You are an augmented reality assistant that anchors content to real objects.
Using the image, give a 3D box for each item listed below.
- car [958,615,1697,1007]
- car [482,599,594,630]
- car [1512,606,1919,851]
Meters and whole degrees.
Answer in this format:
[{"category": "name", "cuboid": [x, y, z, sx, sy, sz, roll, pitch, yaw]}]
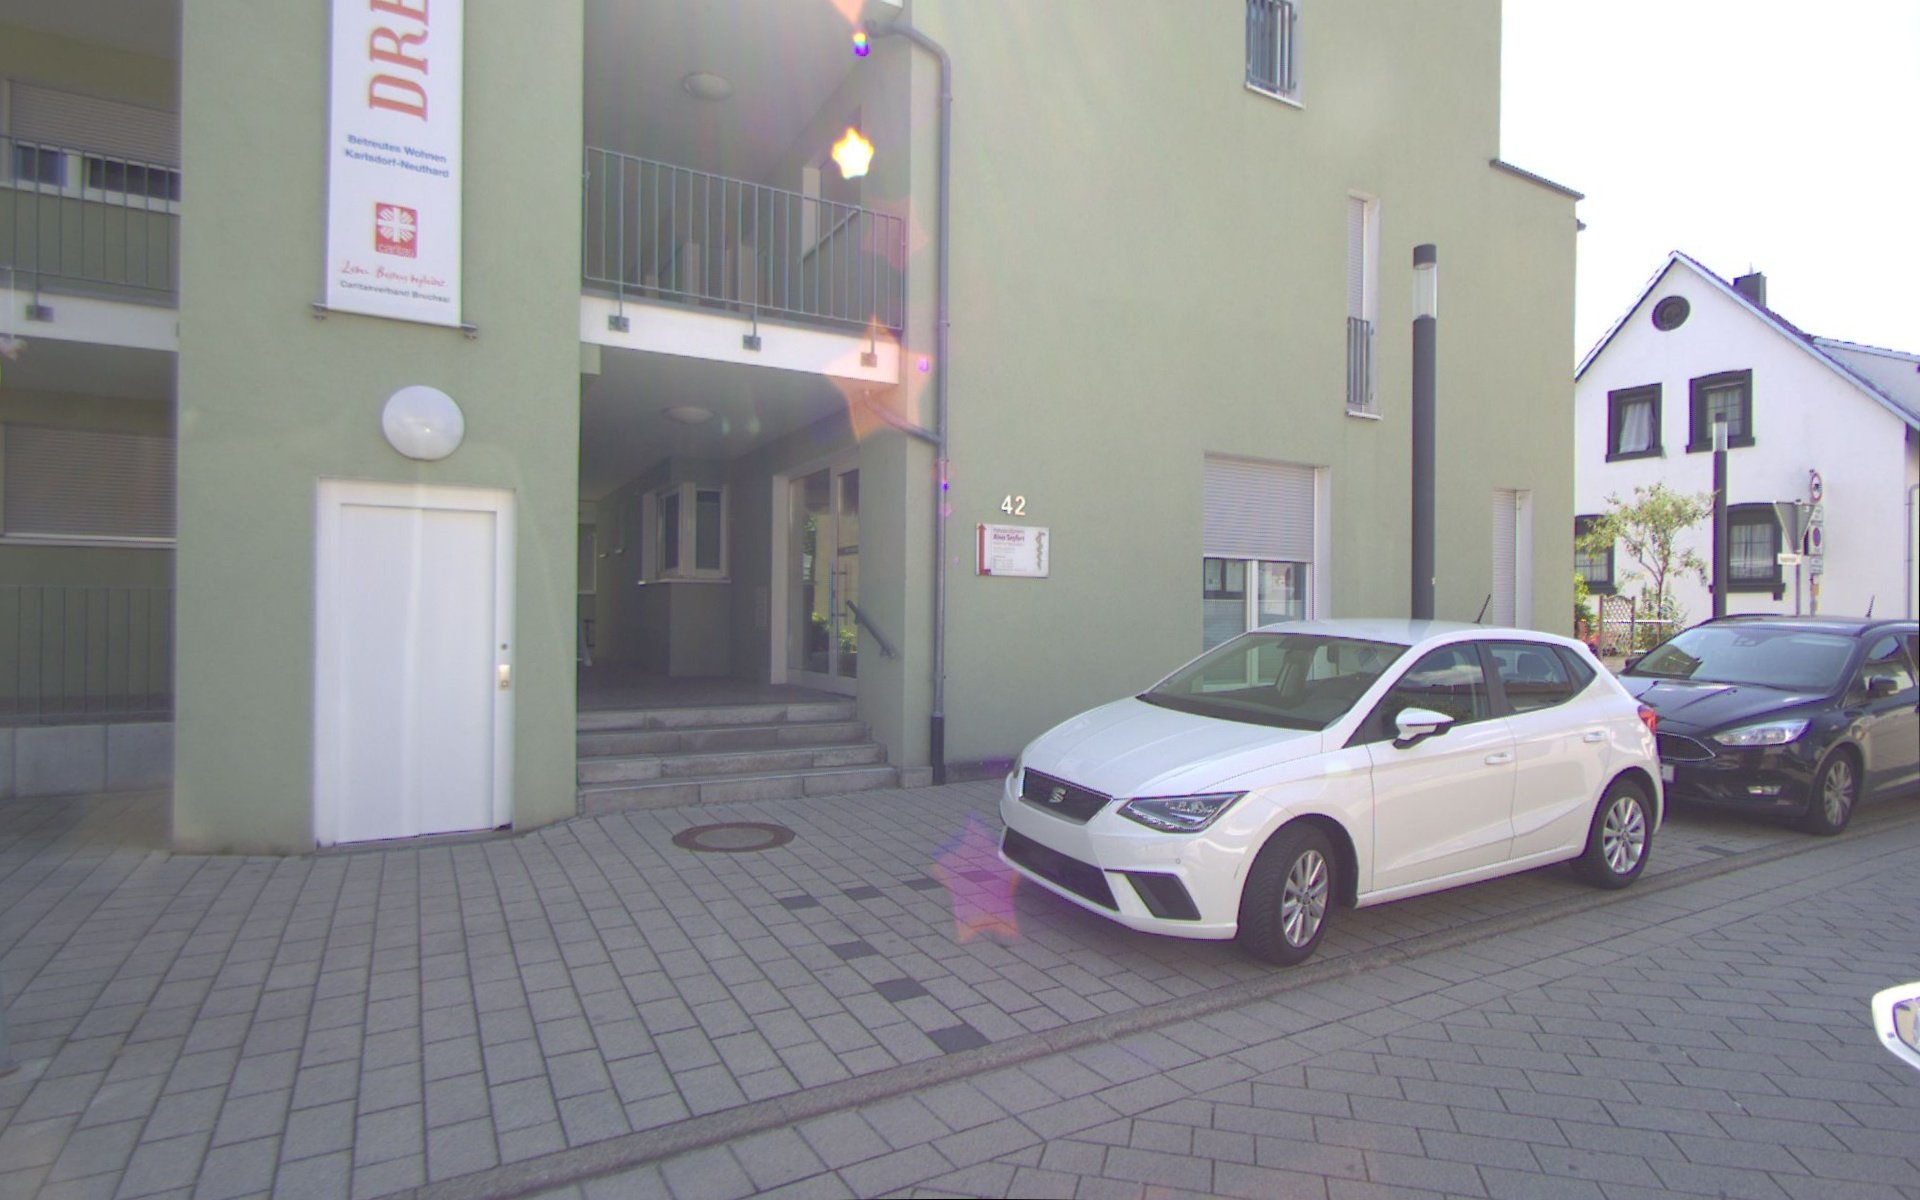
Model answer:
[{"category": "car", "cuboid": [2.083, 0.835, 5.531, 3.831, 1.430, 1.750, 1, 1, -29]}, {"category": "car", "cuboid": [-16.750, 0.571, 39.913, 3.952, 1.172, 1.616, 1, 1, -29]}, {"category": "car", "cuboid": [6.646, 0.839, 8.188, 4.225, 1.510, 1.805, 1, 1, -29]}]
